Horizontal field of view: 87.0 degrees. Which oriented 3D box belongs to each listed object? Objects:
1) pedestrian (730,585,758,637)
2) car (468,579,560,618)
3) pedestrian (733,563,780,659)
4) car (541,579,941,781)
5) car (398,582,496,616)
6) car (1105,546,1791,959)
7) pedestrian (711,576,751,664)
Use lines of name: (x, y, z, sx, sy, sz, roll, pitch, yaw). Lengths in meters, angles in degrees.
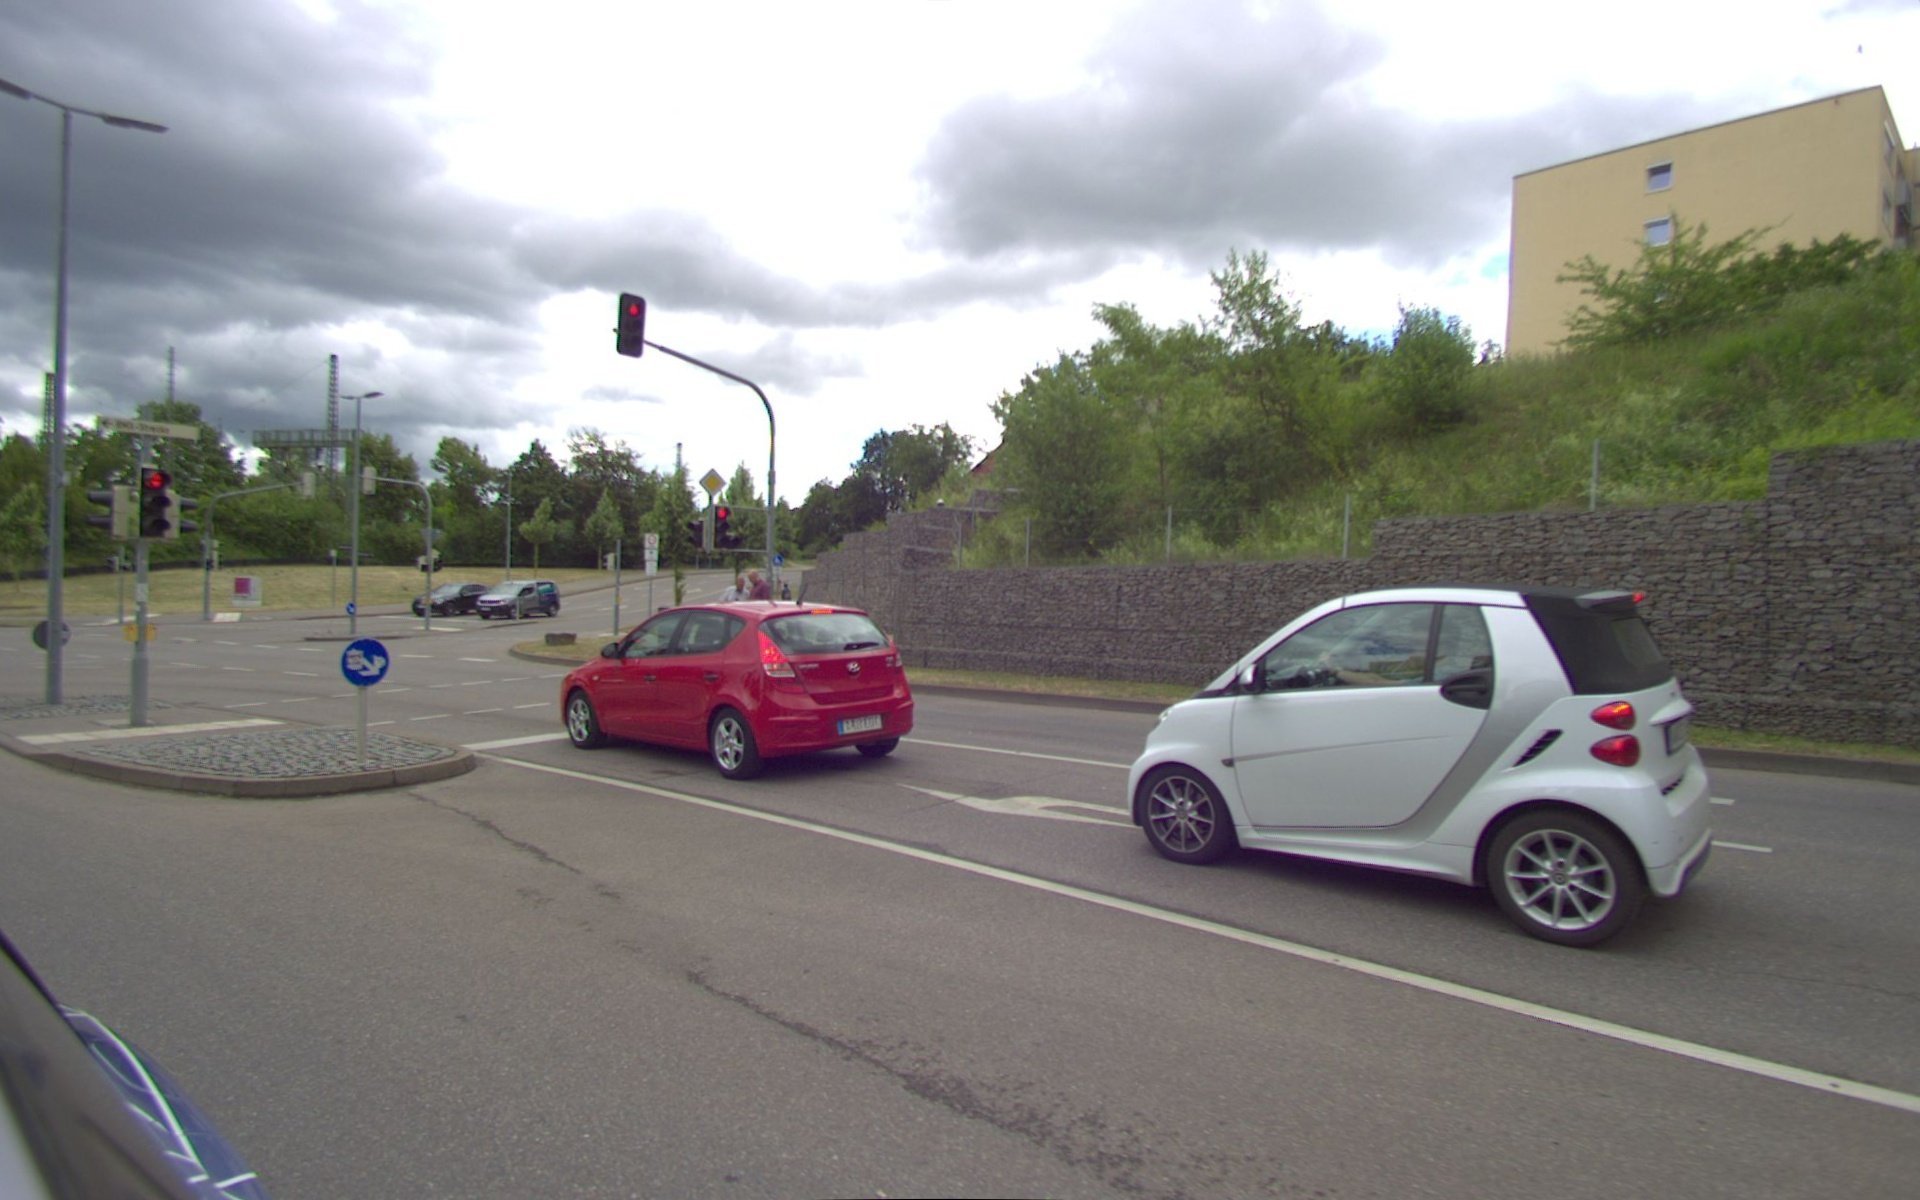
pedestrian: (-6.629, 0.343, 31.091, 0.619, 1.569, 0.576, 1, 1, 19)
car: (-21.328, -0.118, 48.613, 1.745, 1.741, 4.240, 0, 1, 17)
pedestrian: (-3.958, 0.201, 19.675, 0.662, 1.841, 0.619, 1, 1, 25)
car: (-2.249, 0.569, 9.735, 4.093, 1.535, 1.735, 1, 2, 43)
car: (-25.237, -0.080, 49.959, 2.090, 1.563, 4.244, 0, 1, 14)
car: (2.410, 0.566, 5.333, 2.915, 1.535, 1.526, -1, 0, 45)
pedestrian: (-4.518, 0.380, 19.961, 0.654, 1.691, 0.626, 0, 1, -23)
